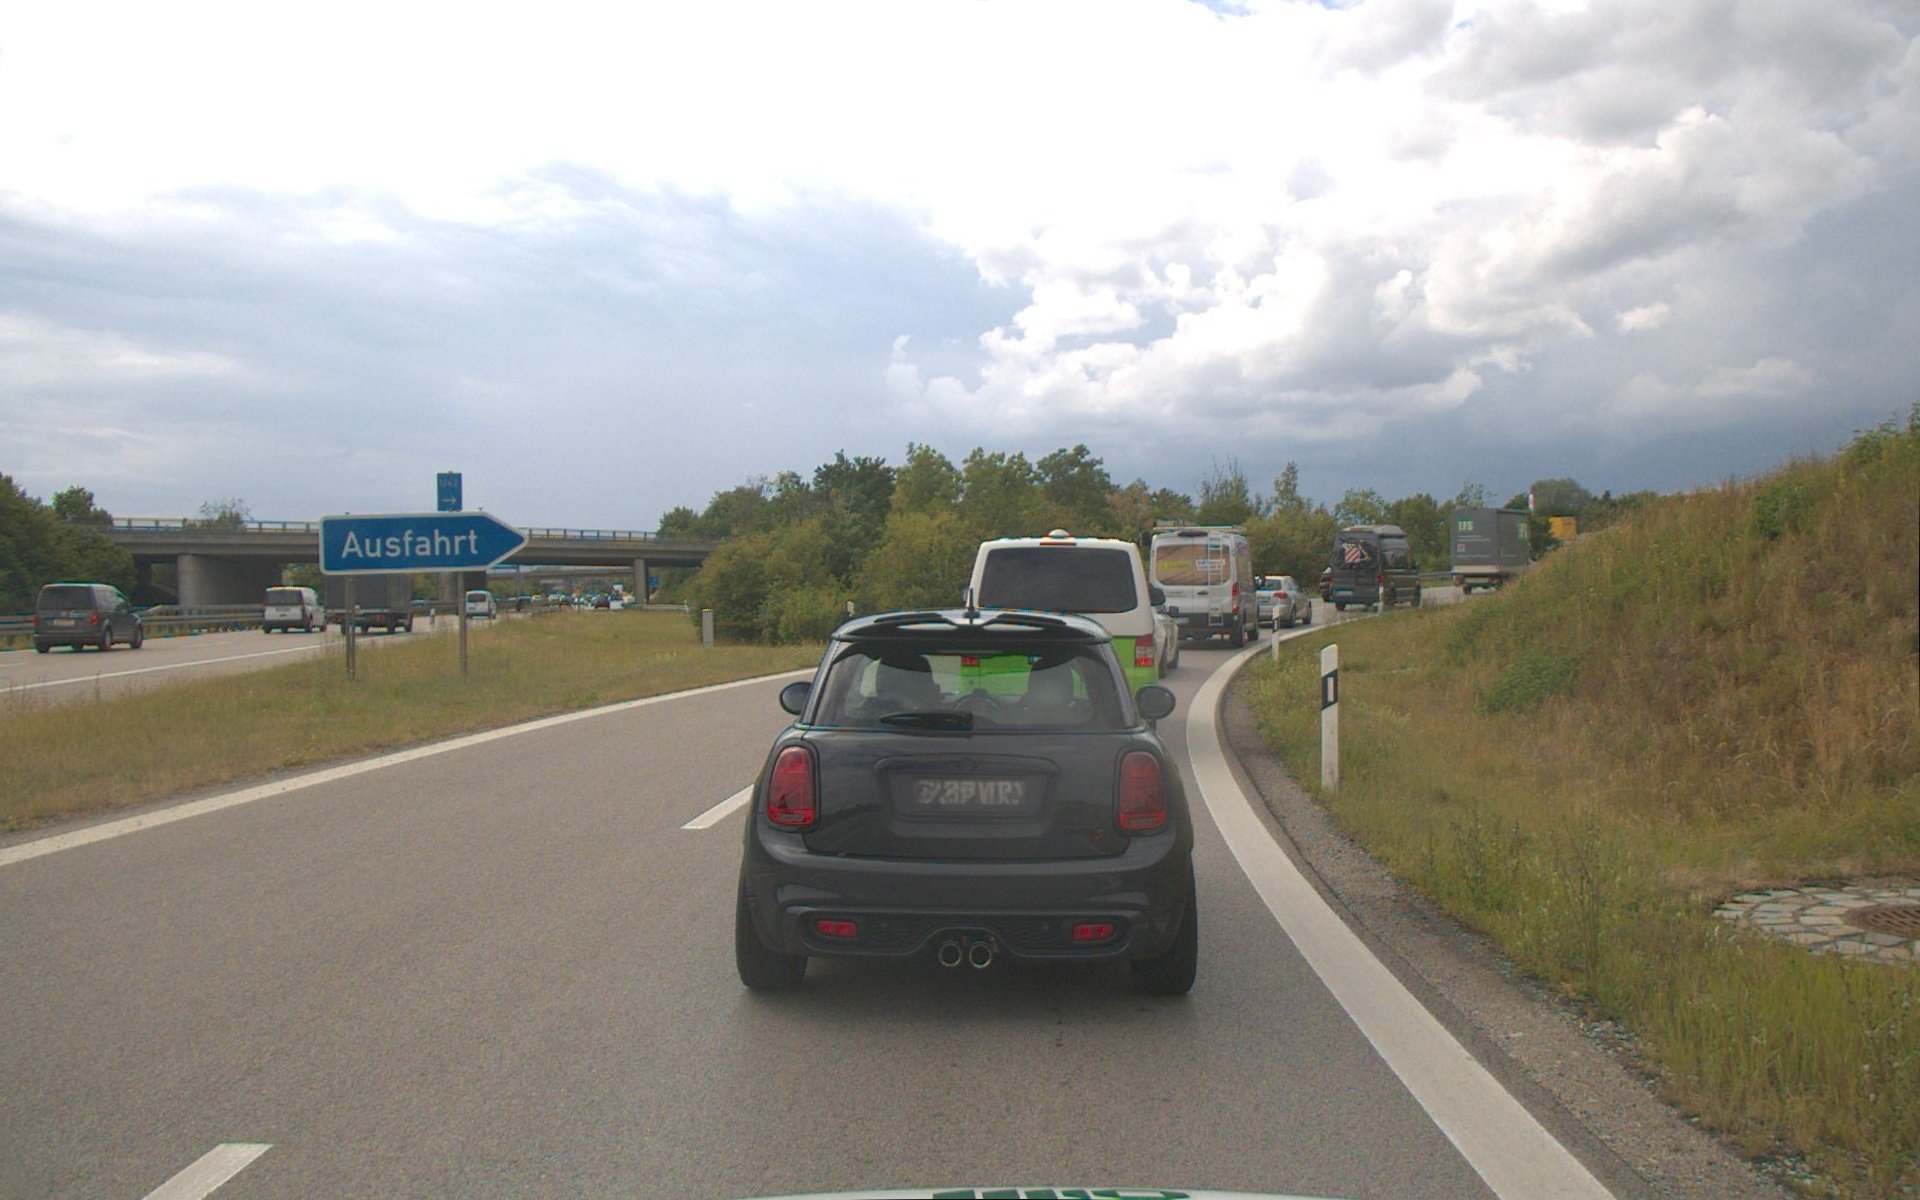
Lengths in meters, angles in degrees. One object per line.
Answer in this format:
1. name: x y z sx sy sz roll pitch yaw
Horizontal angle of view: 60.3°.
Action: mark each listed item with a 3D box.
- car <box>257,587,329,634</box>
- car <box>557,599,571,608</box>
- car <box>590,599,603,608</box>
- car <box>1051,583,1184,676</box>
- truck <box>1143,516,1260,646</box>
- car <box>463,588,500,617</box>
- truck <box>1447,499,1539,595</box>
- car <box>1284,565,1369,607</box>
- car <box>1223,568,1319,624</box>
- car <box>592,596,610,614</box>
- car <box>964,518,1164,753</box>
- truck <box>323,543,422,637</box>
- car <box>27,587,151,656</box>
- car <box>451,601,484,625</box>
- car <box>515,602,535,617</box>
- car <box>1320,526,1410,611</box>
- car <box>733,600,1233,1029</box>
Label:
1. car: -27.502 0.418 68.314 1.957 1.842 3.990 -1 0 -10
2. car: -59.749 0.515 249.734 1.747 1.423 4.297 -1 0 -9
3. car: -56.006 0.508 254.980 1.747 1.423 4.541 -1 0 -9
4. car: 2.660 0.446 27.240 1.724 1.423 3.728 -1 0 12
5. truck: 5.511 -0.432 37.207 2.132 2.705 5.113 0 1 14
6. car: -31.406 0.154 108.632 1.842 1.782 4.477 -1 0 -10
7. truck: 23.806 -2.271 73.658 2.191 3.975 5.994 0 -1 35
8. car: 14.419 -0.531 64.929 1.801 1.593 4.484 0 0 34
9. car: 8.951 -0.108 47.376 1.829 1.536 3.998 0 0 25
10. car: -41.979 0.636 193.510 1.958 2.049 3.988 1 -1 -12
11. car: 1.099 0.301 16.547 1.746 2.049 4.003 0 0 5
12. truck: -23.063 -0.342 65.257 2.423 3.430 7.902 -1 0 -11
13. car: -23.856 0.554 45.466 1.812 1.789 4.324 -1 0 -11
14. car: -39.306 1.022 132.101 1.957 1.817 5.399 -1 0 -10
15. car: -46.148 1.004 175.591 1.691 1.449 4.785 -1 0 -10
16. car: 14.261 -1.085 58.120 2.065 2.845 3.993 1 1 30
17. car: 0.102 0.727 7.480 1.691 1.438 3.725 0 0 1
